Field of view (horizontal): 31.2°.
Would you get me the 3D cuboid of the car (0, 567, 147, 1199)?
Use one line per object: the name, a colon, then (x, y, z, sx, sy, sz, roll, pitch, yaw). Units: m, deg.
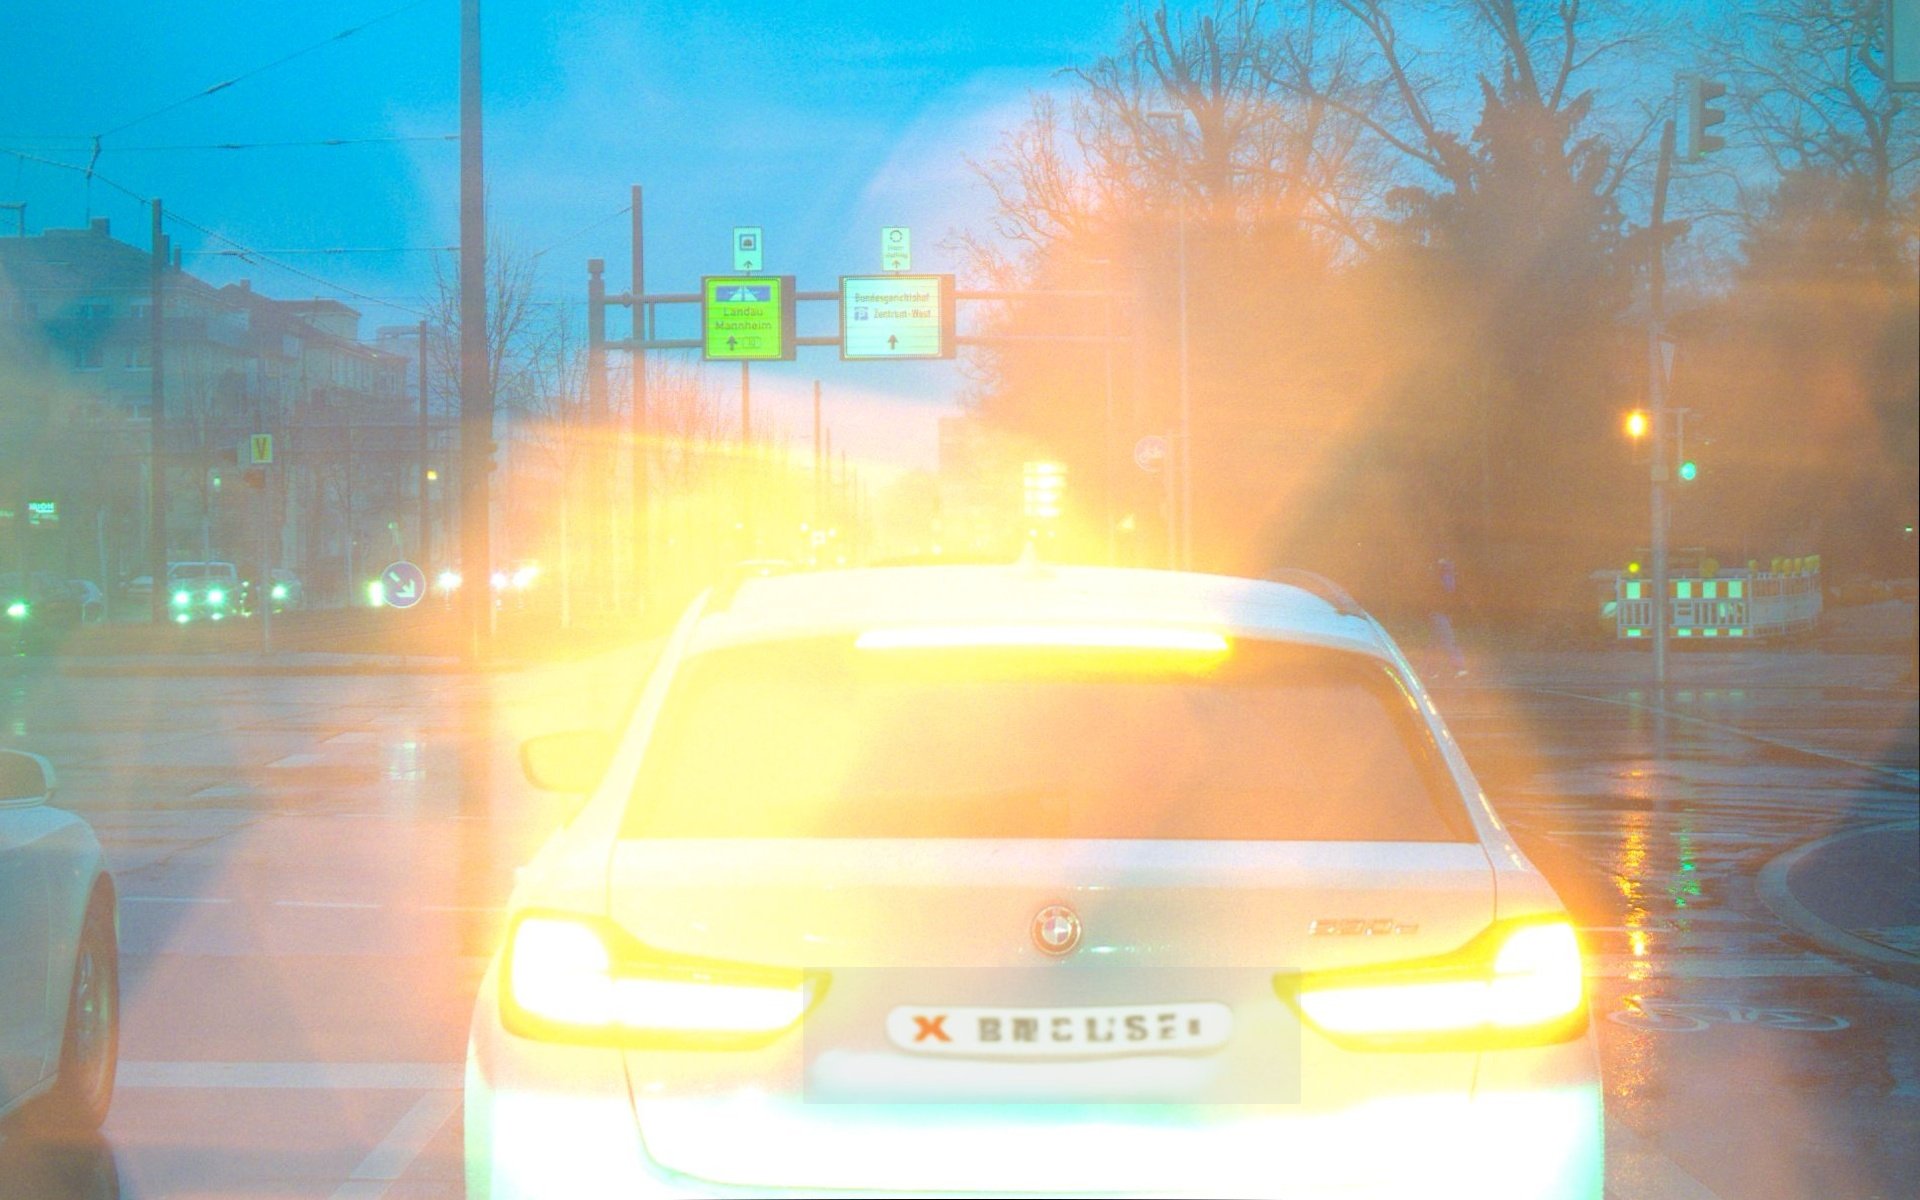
car: (-3.091, 0.673, 7.035, 1.993, 1.451, 4.369, 0, 1, -2)

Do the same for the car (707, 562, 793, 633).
car: (-4.798, -0.060, 78.030, 1.743, 1.548, 3.969, 1, 0, -6)

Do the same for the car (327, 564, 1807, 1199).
car: (0.055, 0.675, 6.817, 1.993, 1.451, 4.369, 0, 1, -2)

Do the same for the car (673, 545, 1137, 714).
car: (-0.480, 0.261, 32.368, 4.094, 1.524, 1.839, 0, 0, 10)

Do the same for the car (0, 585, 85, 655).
car: (-20.813, 0.434, 76.697, 1.675, 1.502, 3.696, 1, 0, -1)

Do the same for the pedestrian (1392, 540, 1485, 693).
pedestrian: (5.914, 0.197, 42.460, 0.904, 1.850, 0.811, 1, 0, 24)

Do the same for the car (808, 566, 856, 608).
car: (-5.080, -0.518, 136.852, 1.843, 1.603, 3.945, 1, 0, -2)

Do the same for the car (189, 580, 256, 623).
car: (-27.151, 0.047, 126.633, 1.675, 1.502, 3.696, 1, 0, -1)
